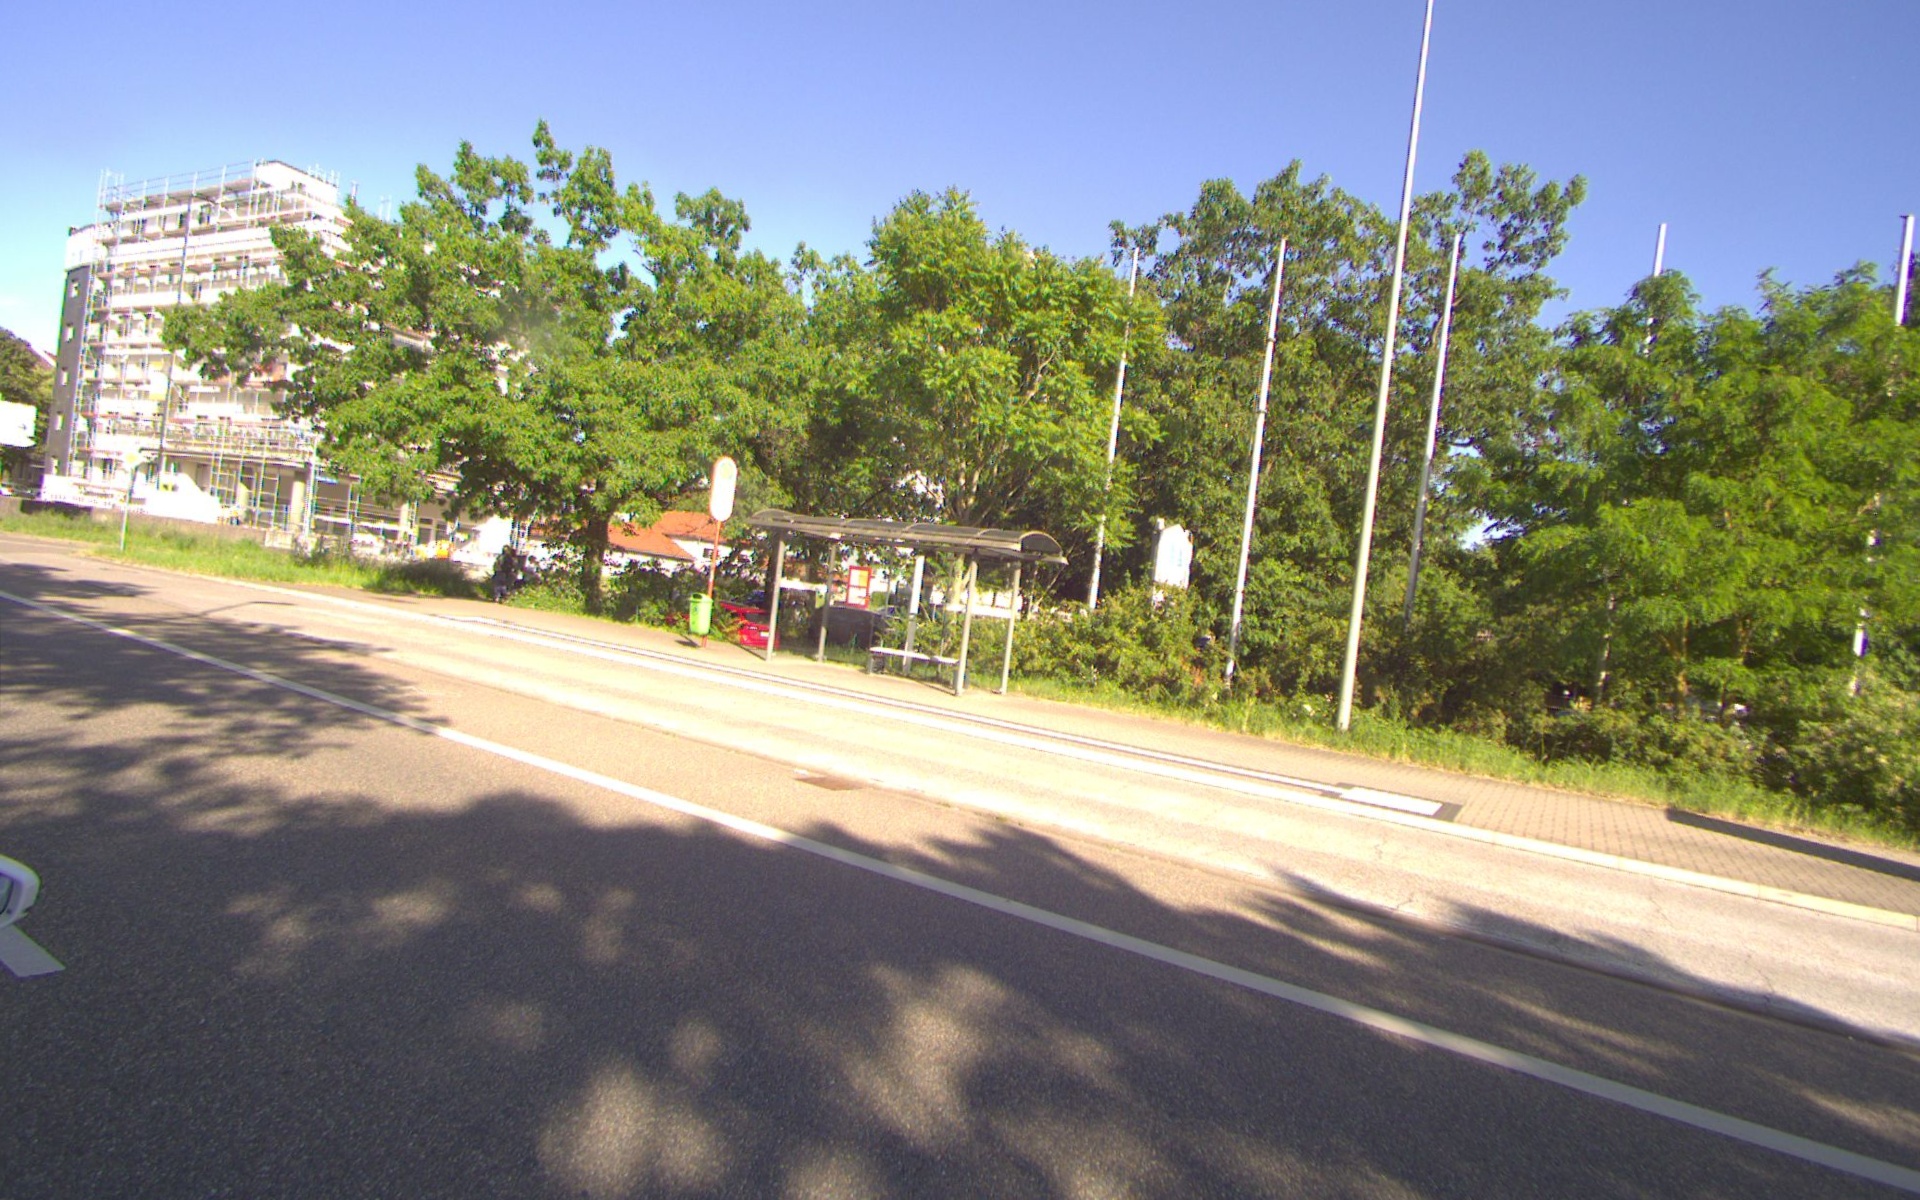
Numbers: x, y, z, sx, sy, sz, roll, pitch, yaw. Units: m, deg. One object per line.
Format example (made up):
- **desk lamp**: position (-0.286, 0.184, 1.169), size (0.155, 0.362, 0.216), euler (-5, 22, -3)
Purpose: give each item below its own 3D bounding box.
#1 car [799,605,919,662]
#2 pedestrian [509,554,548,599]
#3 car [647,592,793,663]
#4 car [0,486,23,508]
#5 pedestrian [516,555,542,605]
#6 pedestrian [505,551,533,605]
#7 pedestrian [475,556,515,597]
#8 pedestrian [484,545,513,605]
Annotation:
- **car**: position (-3.582, 1.180, 35.978), size (3.674, 1.504, 1.914), euler (7, 0, 13)
- **pedestrian**: position (-17.636, -0.942, 41.144), size (0.969, 1.674, 0.891), euler (7, 0, 16)
- **car**: position (-6.869, 0.793, 28.745), size (3.680, 1.504, 1.755), euler (7, 0, 28)
- **car**: position (-66.607, -7.214, 70.158), size (1.521, 1.330, 3.250), euler (7, 0, -40)
- **pedestrian**: position (-13.398, -0.635, 31.274), size (0.517, 1.465, 0.587), euler (7, 1, -32)
- **pedestrian**: position (-12.779, -0.636, 29.131), size (0.517, 1.465, 0.587), euler (7, 1, -32)
- **pedestrian**: position (-18.427, -0.918, 39.864), size (0.948, 1.465, 0.895), euler (7, 0, 17)
- **pedestrian**: position (-13.039, -0.704, 28.441), size (0.517, 1.632, 0.587), euler (7, 1, -32)
